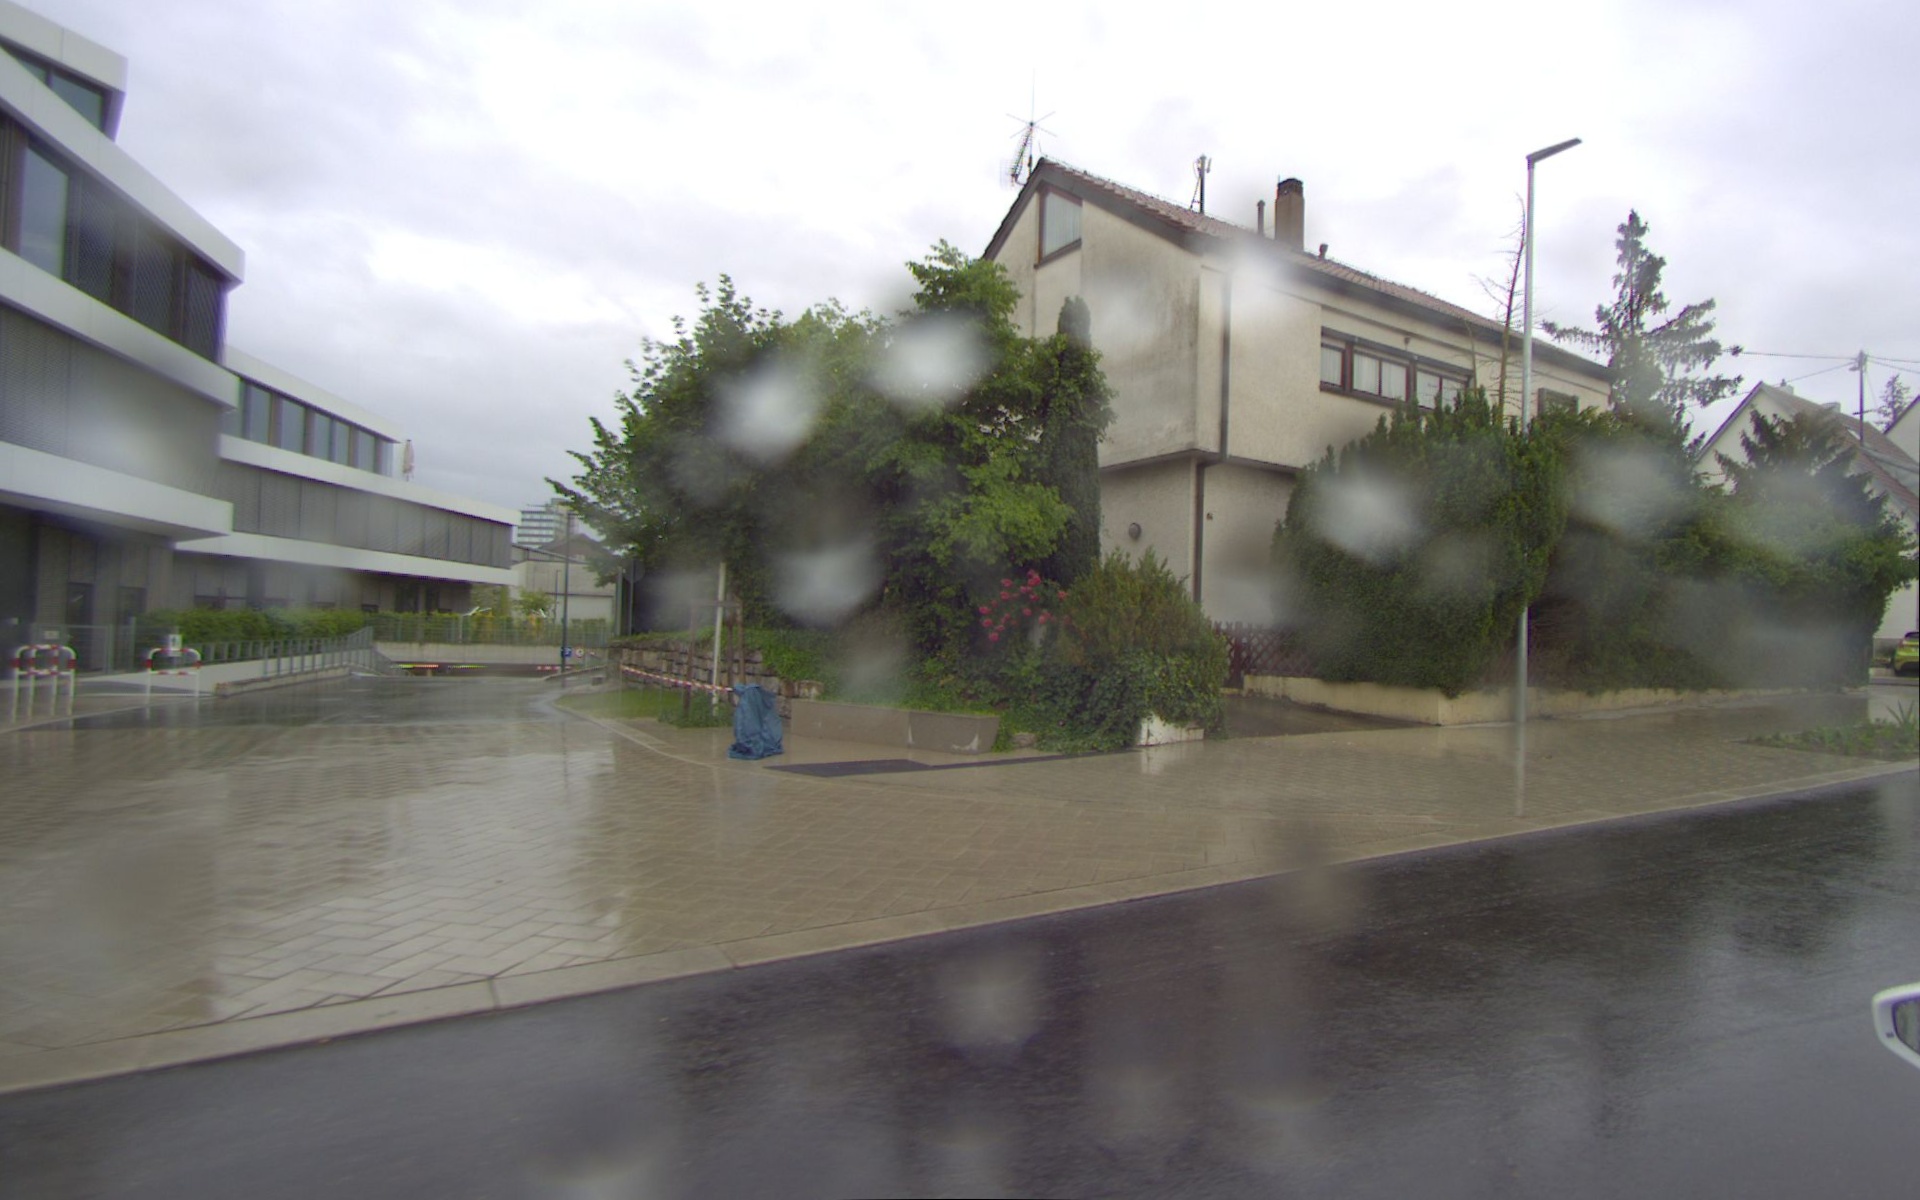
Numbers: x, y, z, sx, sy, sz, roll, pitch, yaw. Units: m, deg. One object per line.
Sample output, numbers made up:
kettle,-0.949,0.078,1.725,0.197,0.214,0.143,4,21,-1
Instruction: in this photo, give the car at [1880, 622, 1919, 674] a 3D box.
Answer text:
car,29.154,1.469,29.826,3.416,1.486,1.771,3,-2,-30
